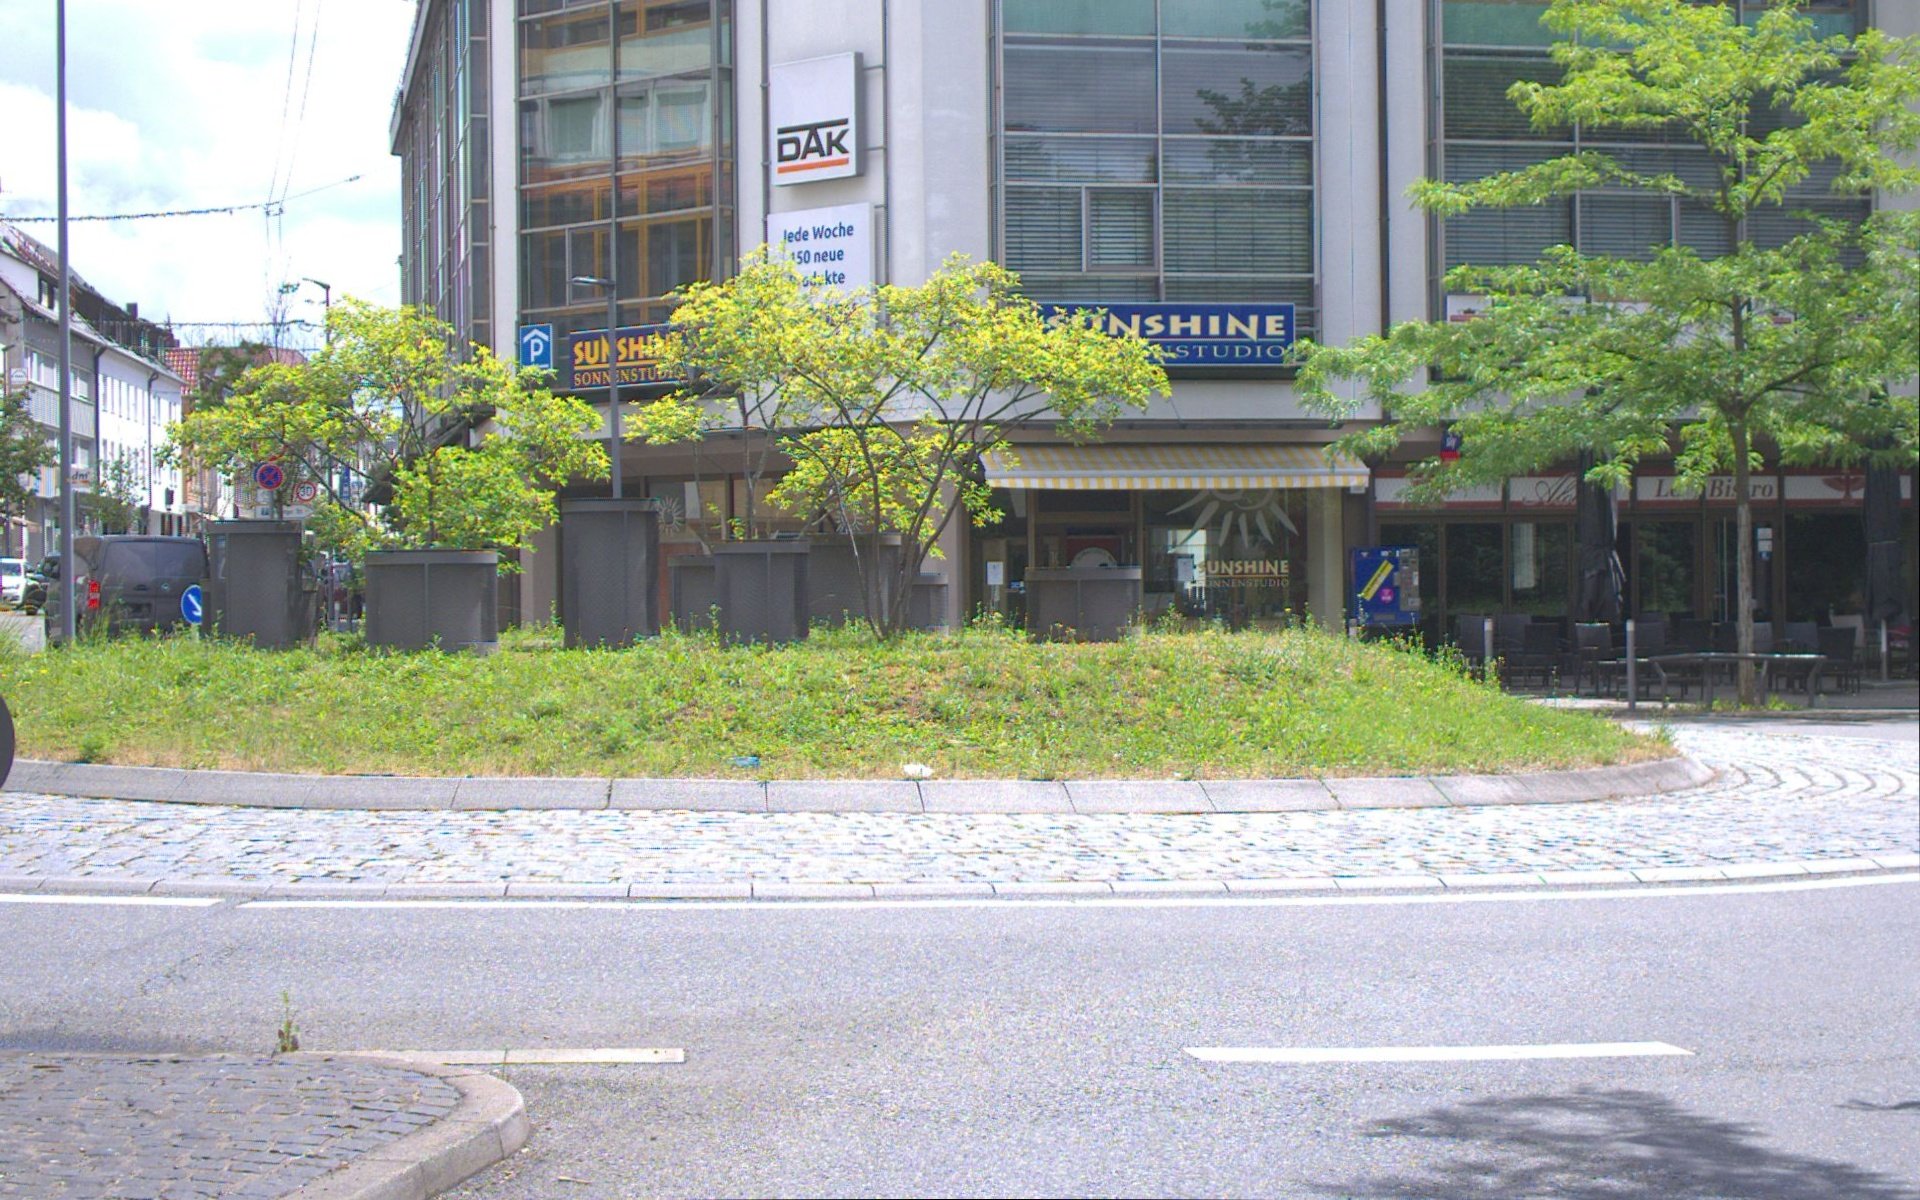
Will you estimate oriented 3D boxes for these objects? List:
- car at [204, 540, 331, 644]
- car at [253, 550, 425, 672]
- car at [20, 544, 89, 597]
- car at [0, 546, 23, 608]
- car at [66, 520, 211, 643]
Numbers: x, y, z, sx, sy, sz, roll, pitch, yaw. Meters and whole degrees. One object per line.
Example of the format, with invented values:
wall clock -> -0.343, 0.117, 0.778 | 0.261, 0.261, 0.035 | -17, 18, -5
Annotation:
car -> -12.092, -0.151, 60.254 | 1.824, 1.725, 4.234 | -1, 1, -7
car -> -9.301, 0.139, 51.214 | 1.993, 1.682, 4.694 | 2, 0, -16
car -> -24.050, -0.797, 91.389 | 1.709, 1.349, 4.001 | 0, 1, -14
car -> -27.869, -0.684, 98.785 | 1.709, 1.706, 4.001 | 0, 1, -14
car -> -12.198, -0.279, 50.865 | 1.823, 1.701, 4.441 | 2, 0, -16
